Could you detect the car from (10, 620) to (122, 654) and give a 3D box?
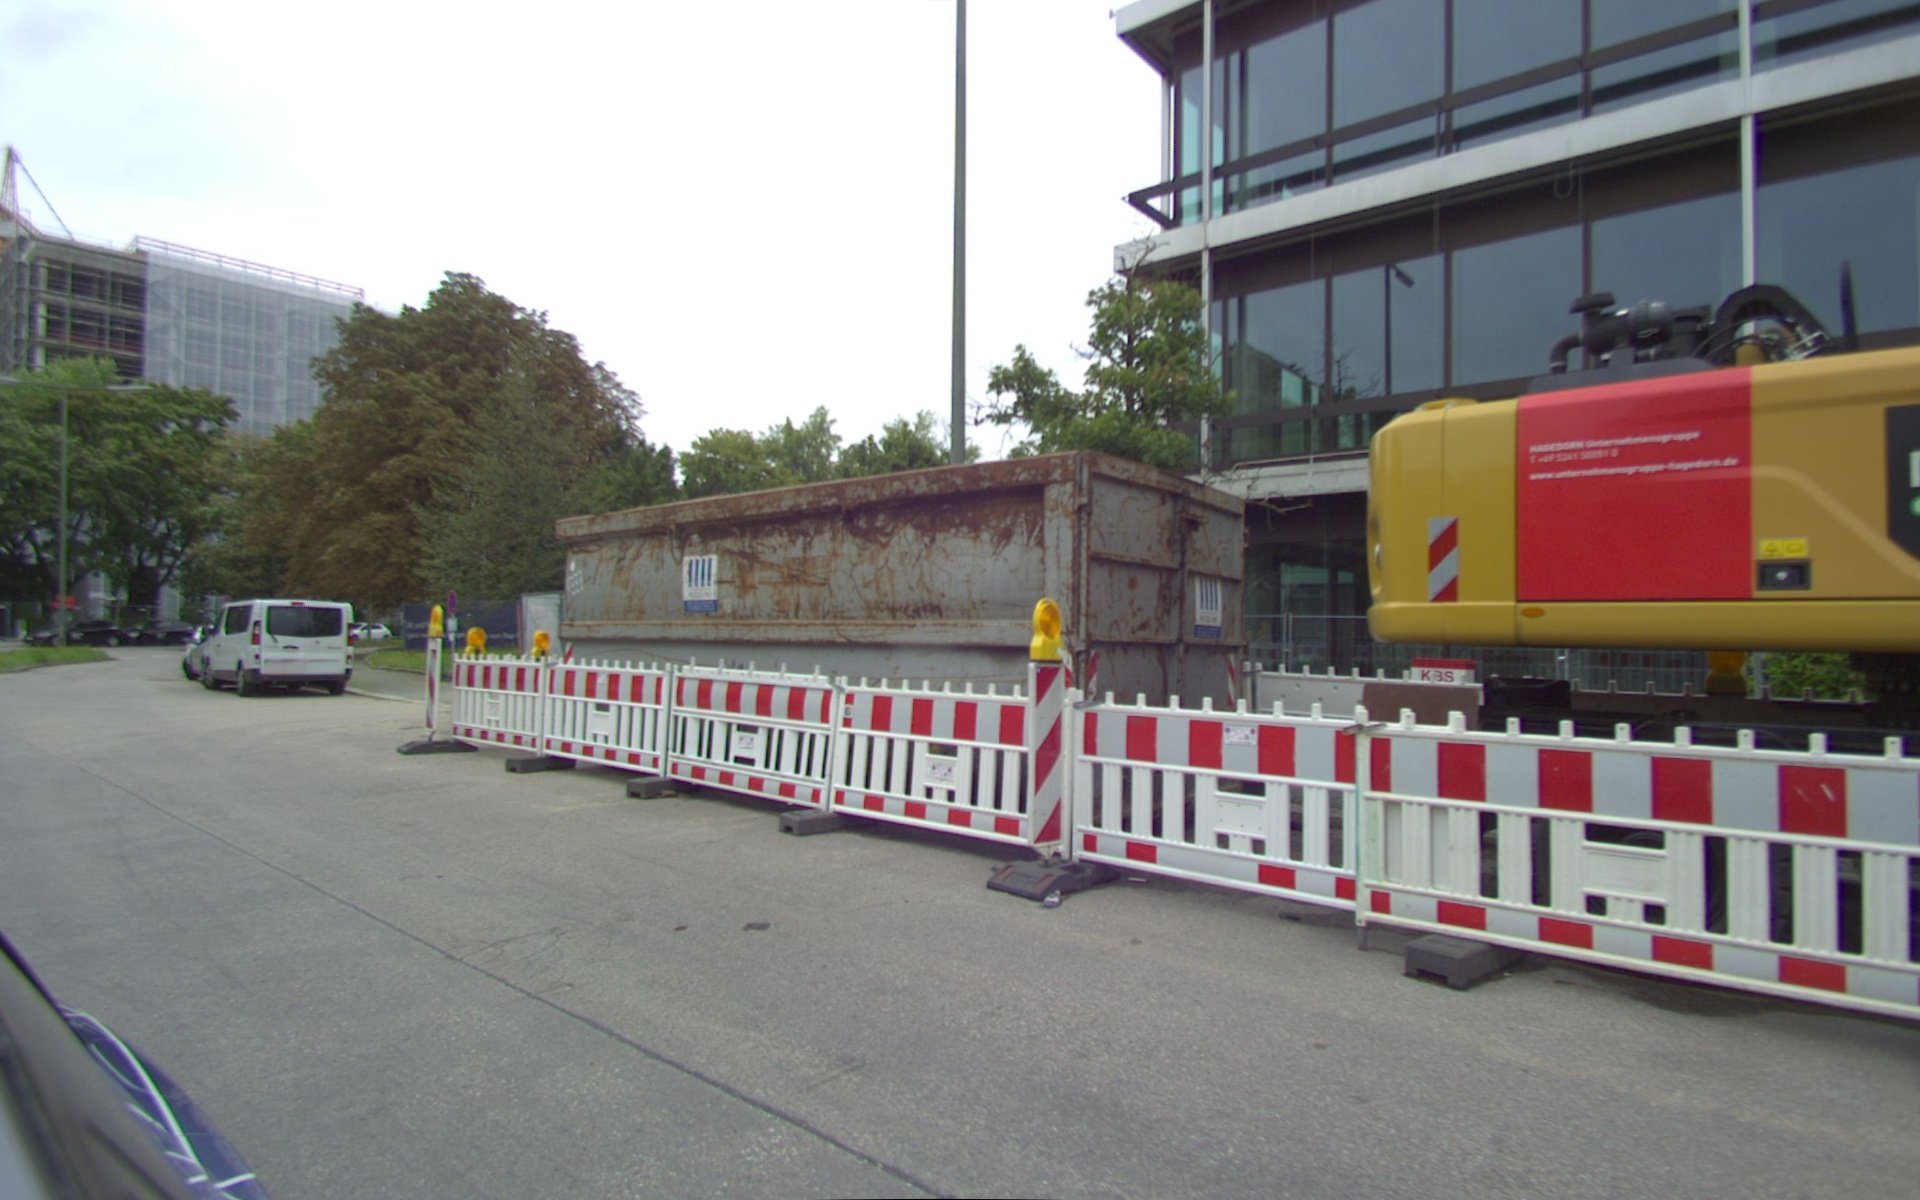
[{"bbox_3d":[-45.264,1.862,51.338,1.775,1.584,3.864,2,-1,17],"label":"car"}]

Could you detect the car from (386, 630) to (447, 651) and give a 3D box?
[{"bbox_3d":[-39.446,2.938,73.548,1.512,1.397,3.688,2,-1,25],"label":"car"}]

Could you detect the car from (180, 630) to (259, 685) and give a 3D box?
[{"bbox_3d":[-21.937,1.672,29.962,1.714,1.470,4.040,4,-4,-37],"label":"car"}]

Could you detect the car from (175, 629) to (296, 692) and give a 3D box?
[{"bbox_3d":[-18.970,1.554,26.440,1.970,1.470,4.123,5,-4,-43],"label":"car"}]

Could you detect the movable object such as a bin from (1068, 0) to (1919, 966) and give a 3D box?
[{"bbox_3d":[6.167,-1.832,3.983,11.774,6.614,2.875,0,-2,40],"label":"movable object such as a bin"}]

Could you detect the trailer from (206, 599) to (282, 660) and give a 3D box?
[{"bbox_3d":[-27.272,1.121,38.629,1.752,2.198,2.786,3,-2,-23],"label":"trailer"}]

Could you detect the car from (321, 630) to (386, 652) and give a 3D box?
[{"bbox_3d":[-41.278,2.801,68.943,1.508,1.397,3.698,2,-1,18],"label":"car"}]

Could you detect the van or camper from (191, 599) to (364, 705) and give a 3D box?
[{"bbox_3d":[-15.172,1.112,22.336,5.588,2.050,1.967,-1,-4,44],"label":"van or camper"}]

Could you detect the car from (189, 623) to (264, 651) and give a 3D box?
[{"bbox_3d":[-43.521,2.191,60.110,1.646,1.584,3.243,2,-1,18],"label":"car"}]

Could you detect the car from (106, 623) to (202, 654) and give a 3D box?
[{"bbox_3d":[-44.210,2.075,55.621,1.772,1.584,3.871,2,-1,12],"label":"car"}]
